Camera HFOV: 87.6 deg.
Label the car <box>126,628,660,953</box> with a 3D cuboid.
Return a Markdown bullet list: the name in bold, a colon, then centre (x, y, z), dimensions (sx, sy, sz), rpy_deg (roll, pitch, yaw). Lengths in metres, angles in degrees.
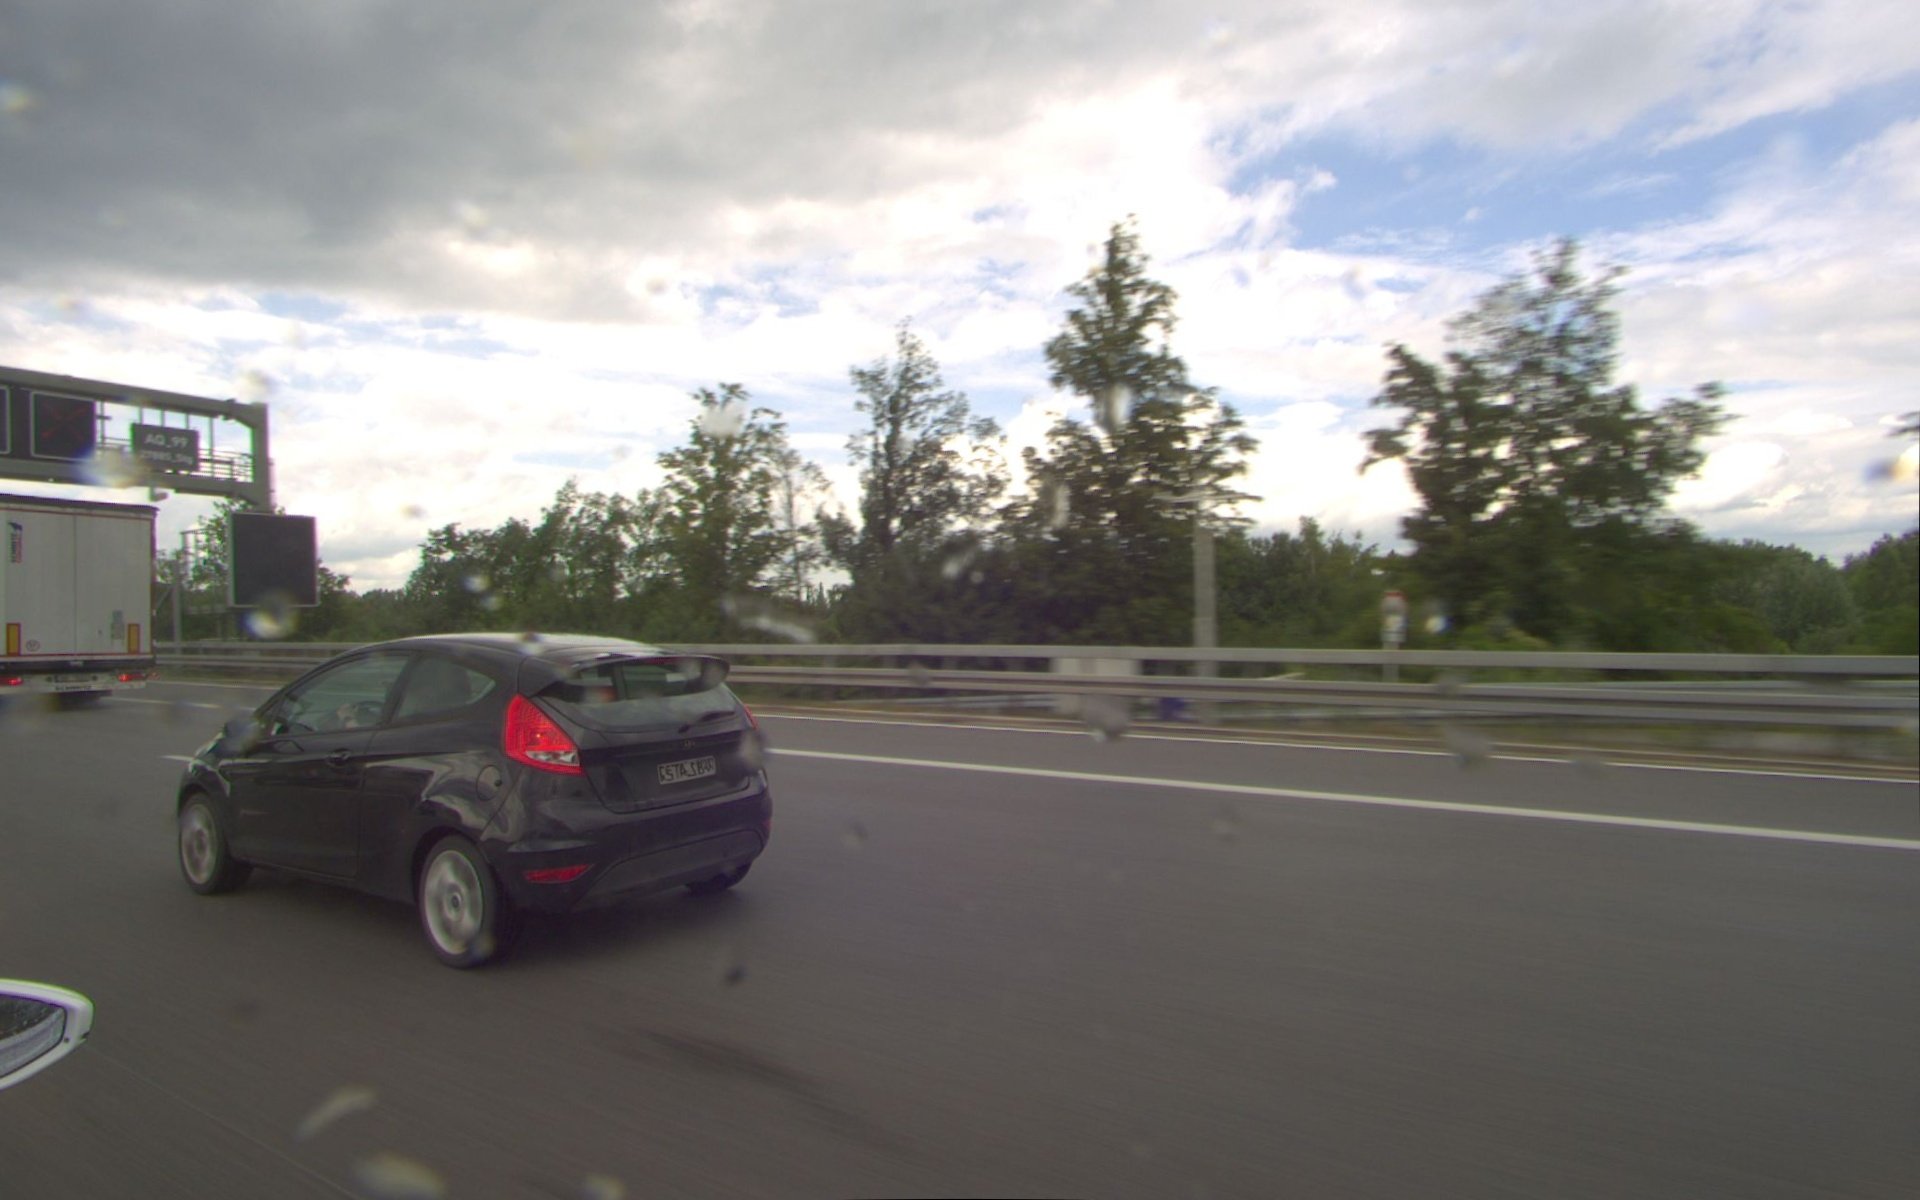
- **car**: centre (-3.419, 0.896, 5.945), dimensions (3.118, 1.460, 1.445), rpy_deg (-1, -1, 31)

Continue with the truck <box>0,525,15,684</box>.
- **truck**: centre (-28.086, 0.121, 26.526), dimensions (6.495, 4.072, 2.956), rpy_deg (-1, -1, 33)

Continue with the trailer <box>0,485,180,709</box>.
- **trailer**: centre (-22.606, 0.051, 22.989), dimensions (13.917, 4.072, 2.956), rpy_deg (-1, -1, 33)
